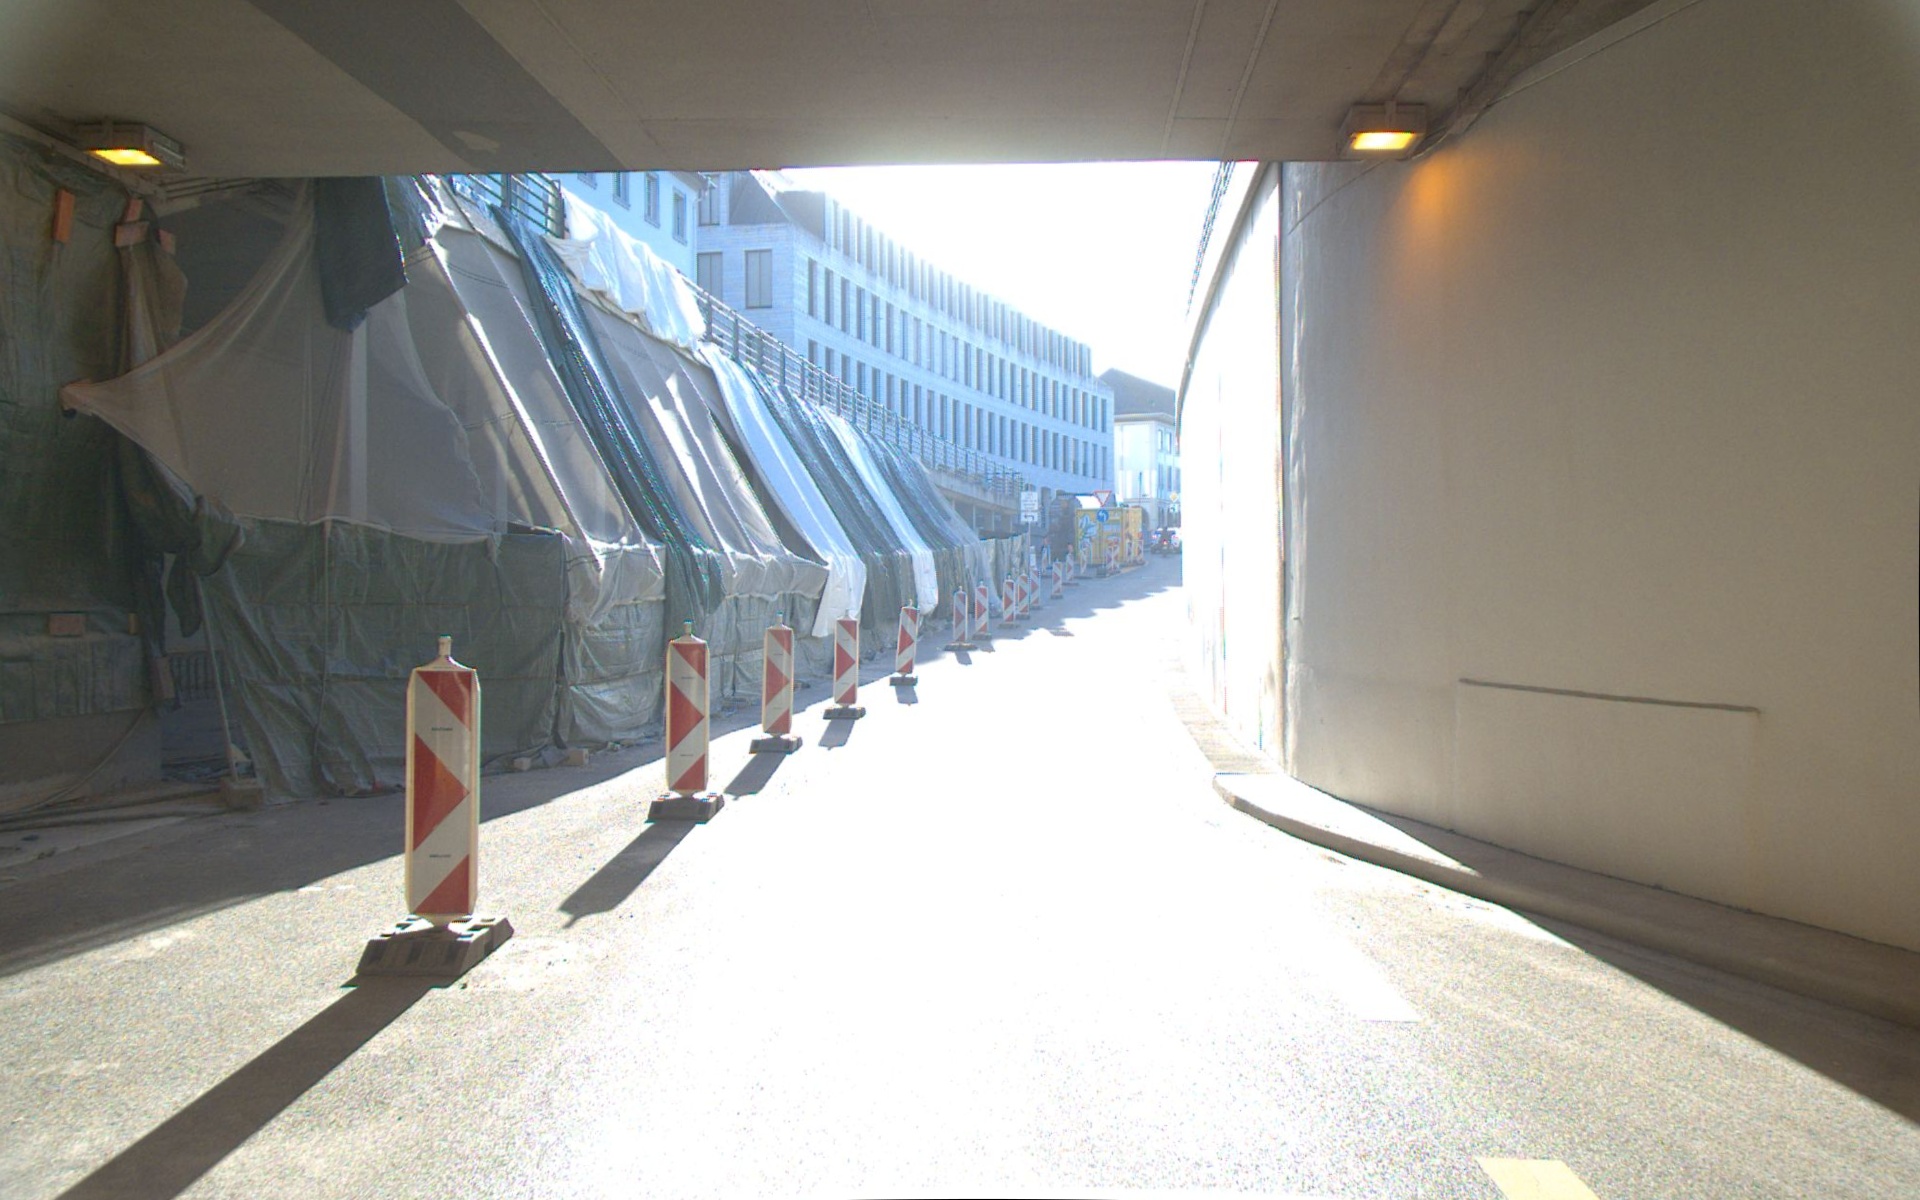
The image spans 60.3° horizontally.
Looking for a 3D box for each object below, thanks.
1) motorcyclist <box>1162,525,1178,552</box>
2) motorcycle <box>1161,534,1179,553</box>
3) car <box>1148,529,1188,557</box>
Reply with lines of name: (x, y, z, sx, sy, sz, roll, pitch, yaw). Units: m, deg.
motorcyclist: (11.808, -3.448, 92.976, 0.787, 1.530, 0.777, 1, 2, 15)
motorcycle: (11.820, -3.187, 93.026, 0.755, 1.009, 2.186, 0, 2, 15)
car: (12.561, -3.446, 99.538, 1.738, 1.632, 4.003, 1, 2, 17)
